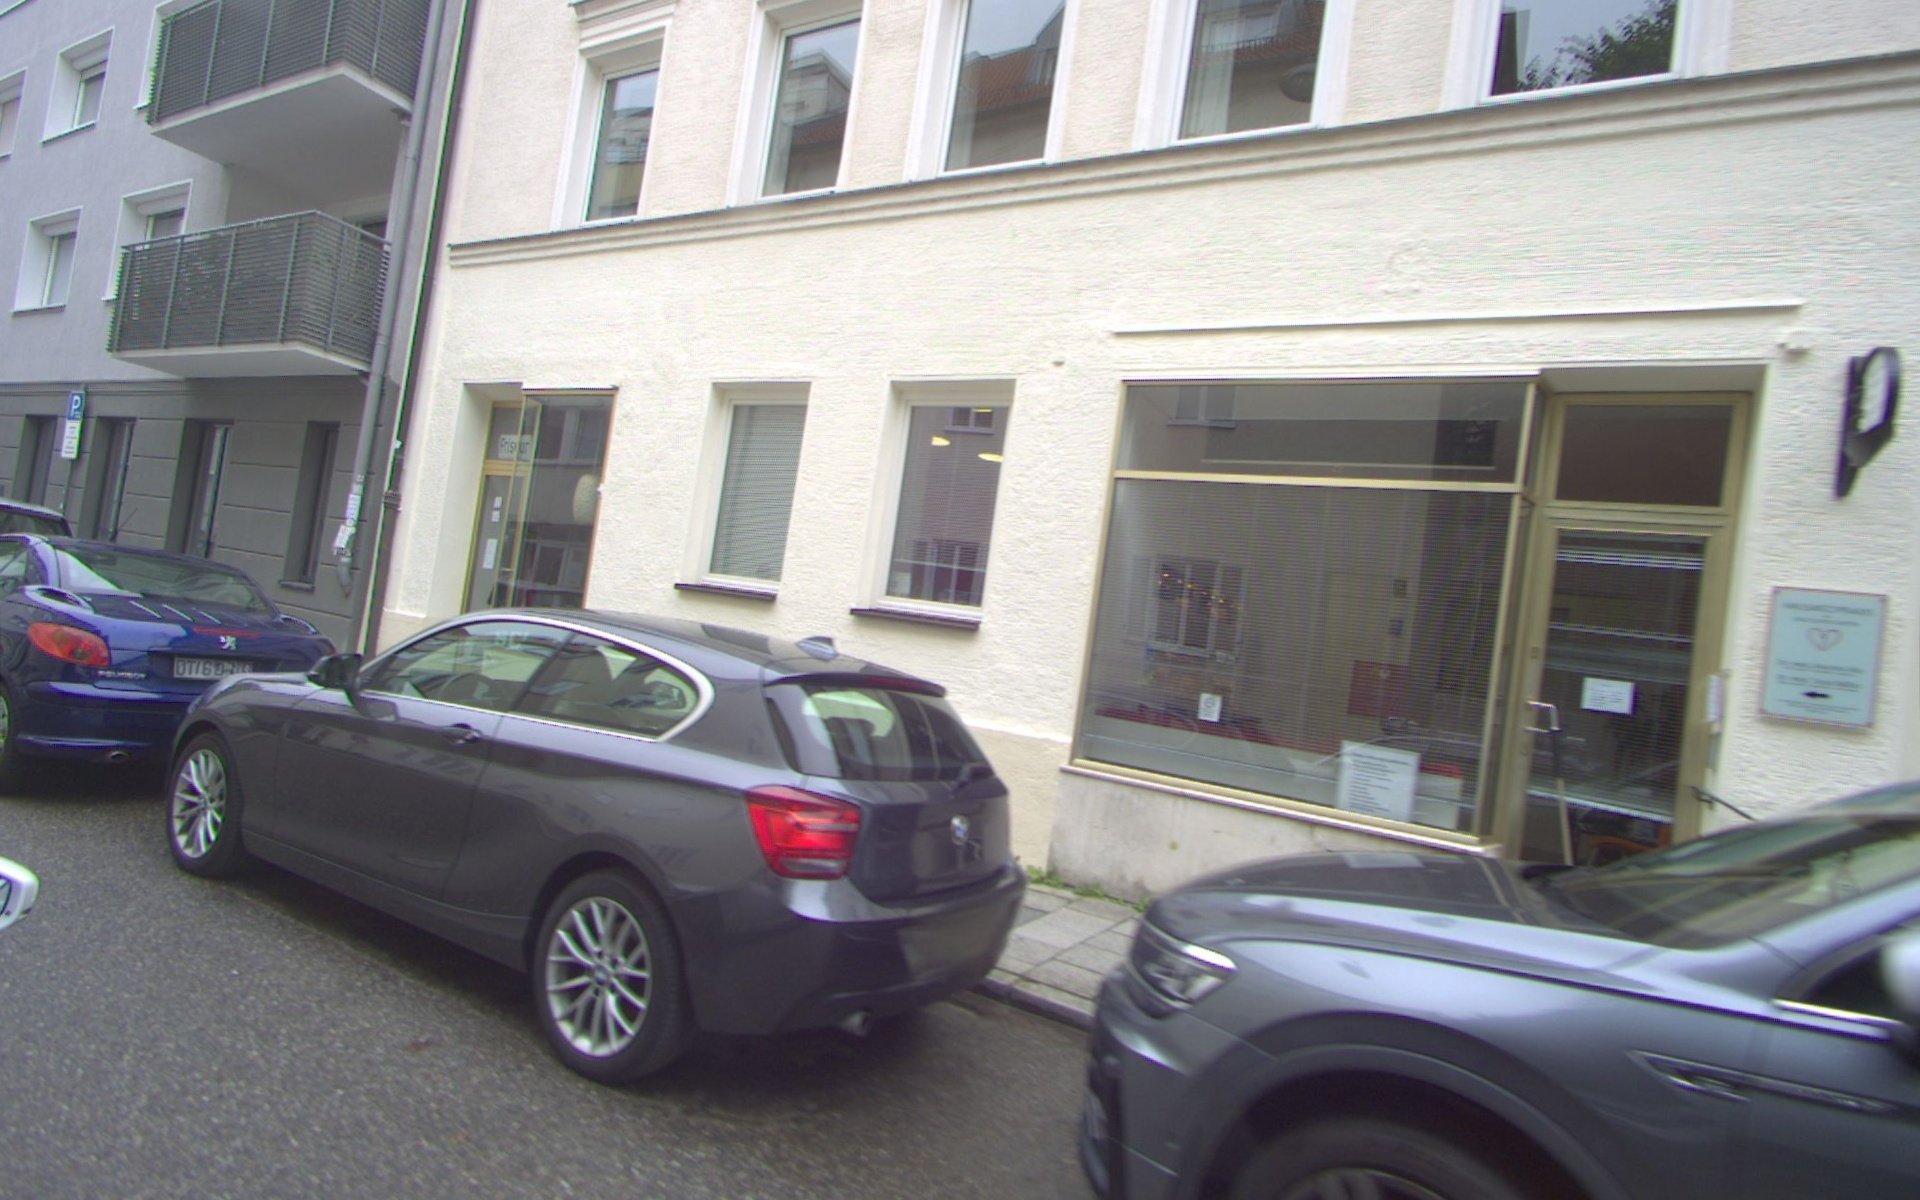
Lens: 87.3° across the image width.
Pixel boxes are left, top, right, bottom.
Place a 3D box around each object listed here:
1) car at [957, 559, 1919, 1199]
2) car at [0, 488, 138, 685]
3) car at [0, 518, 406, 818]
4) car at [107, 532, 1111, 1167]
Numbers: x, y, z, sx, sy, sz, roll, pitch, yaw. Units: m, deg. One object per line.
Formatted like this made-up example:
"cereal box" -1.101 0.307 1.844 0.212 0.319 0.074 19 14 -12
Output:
"car" 2.384 1.061 1.893 4.437 1.679 1.680 7 -3 31
"car" -9.709 -0.329 9.184 4.242 1.589 1.880 7 -1 29
"car" -5.676 0.255 6.571 3.880 1.379 1.812 7 -2 32
"car" -1.725 0.676 4.524 4.275 1.401 1.804 7 -2 30
